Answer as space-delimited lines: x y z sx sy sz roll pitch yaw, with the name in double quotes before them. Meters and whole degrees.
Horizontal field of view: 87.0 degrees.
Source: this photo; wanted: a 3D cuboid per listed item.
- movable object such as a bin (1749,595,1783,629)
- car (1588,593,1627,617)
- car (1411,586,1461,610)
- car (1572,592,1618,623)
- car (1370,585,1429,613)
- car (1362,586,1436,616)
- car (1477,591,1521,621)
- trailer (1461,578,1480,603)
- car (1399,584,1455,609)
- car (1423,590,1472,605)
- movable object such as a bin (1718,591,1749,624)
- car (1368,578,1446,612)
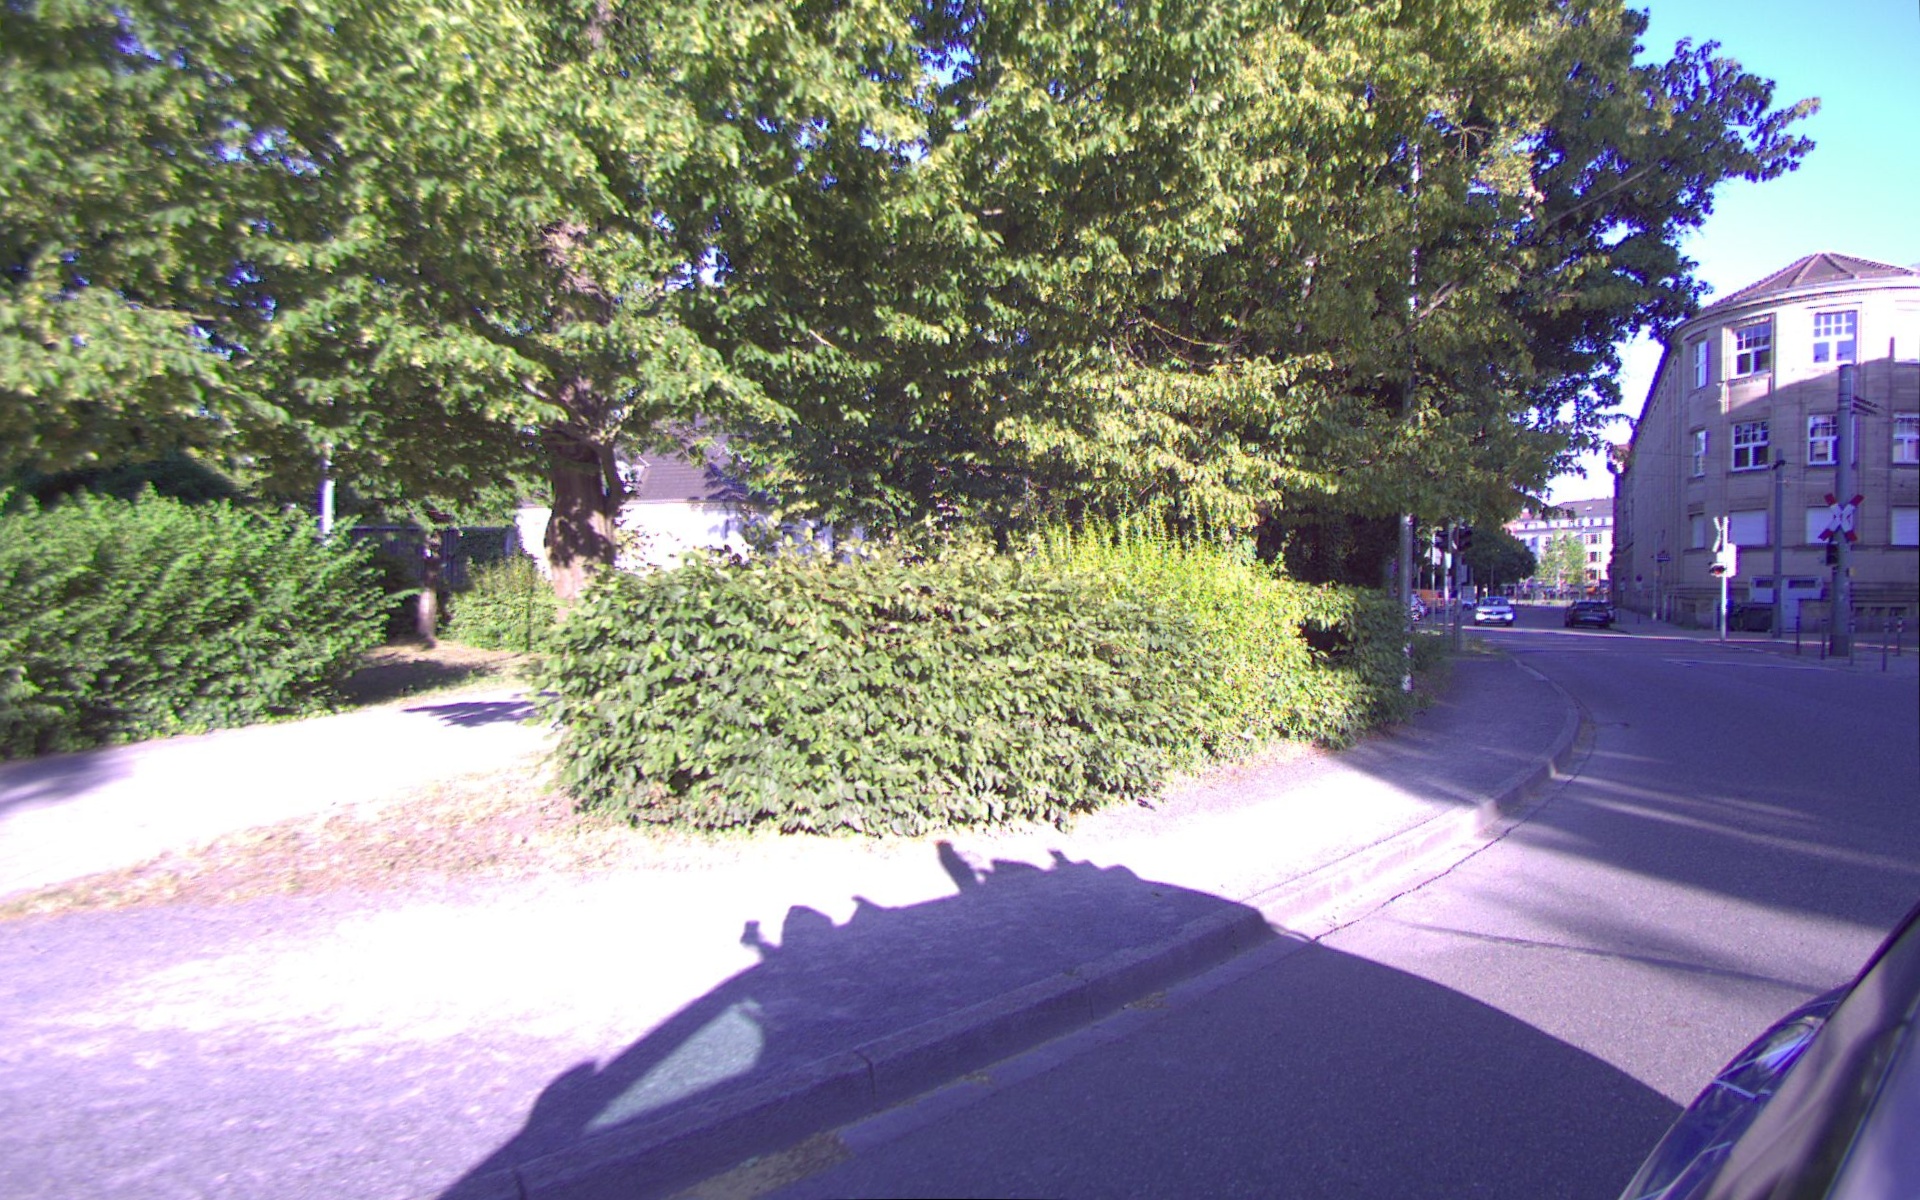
"movable object such as a bin" 36.526 0.529 45.866 1.180 1.446 1.895 1 0 38
"car" 41.933 0.298 65.617 1.733 1.453 4.517 0 0 28
"car" 40.492 -0.191 86.087 3.589 1.907 1.762 3 2 34
"car" 32.303 0.368 51.575 1.734 1.466 4.166 1 1 29
"car" 29.243 -0.102 67.302 3.380 1.651 1.662 3 2 30
"car" 25.994 0.023 59.931 3.961 1.566 1.719 3 2 26
"car" 28.715 0.291 53.873 1.677 1.471 4.053 1 1 34
"trailer" 57.258 -1.048 113.455 1.590 2.673 3.659 1 1 32
"car" 38.766 -0.310 84.063 3.959 1.886 1.896 3 2 35
"car" 50.729 -0.250 105.425 4.414 1.485 1.691 1 1 33
"movable object such as a bin" 36.216 0.327 47.377 1.144 1.504 1.605 1 0 38
"car" 30.739 -0.371 69.567 4.764 2.022 2.062 3 2 26
